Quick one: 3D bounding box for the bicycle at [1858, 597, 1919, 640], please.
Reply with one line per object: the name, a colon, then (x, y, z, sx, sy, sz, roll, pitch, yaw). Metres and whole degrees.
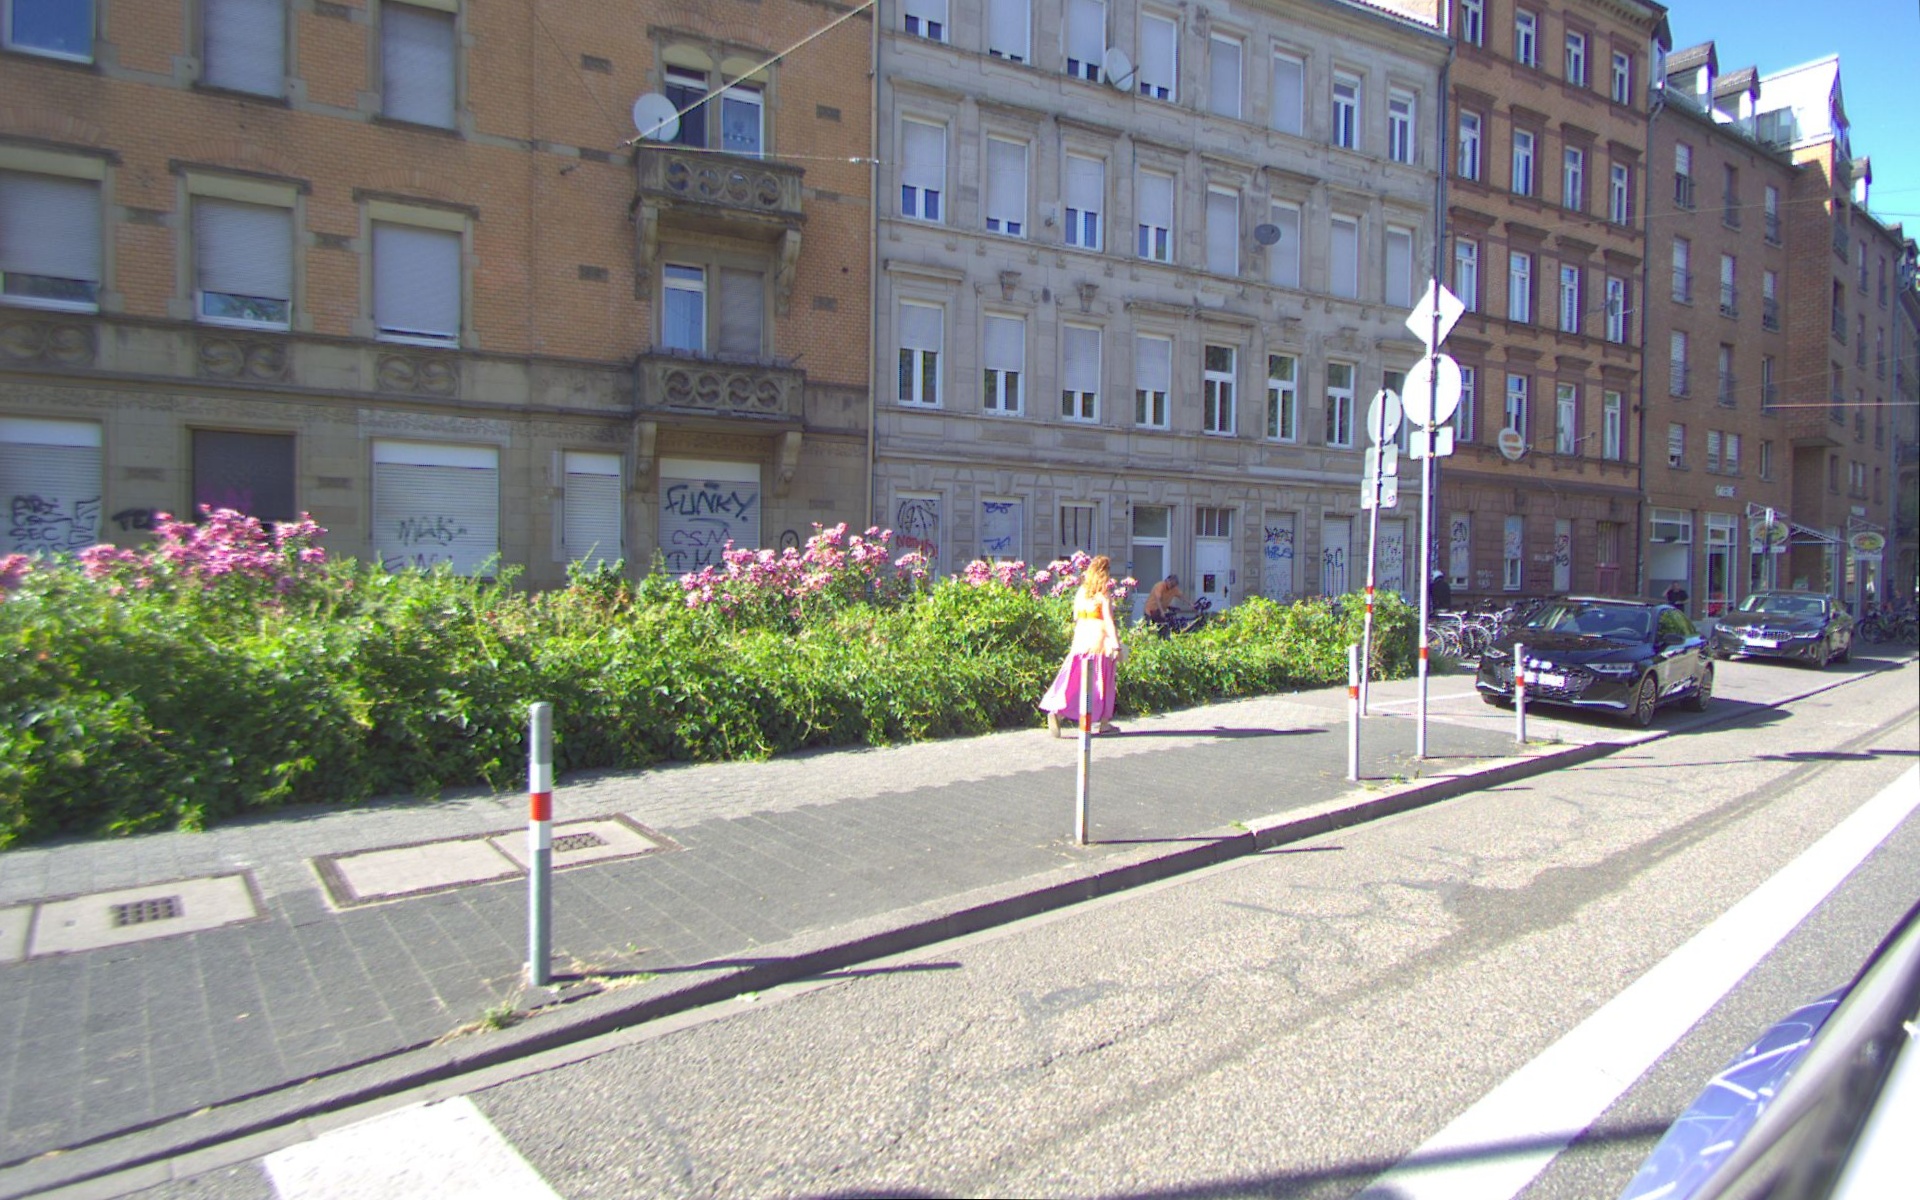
bicycle: (26.956, 0.534, 28.791, 0.828, 1.151, 1.924, 0, 2, -29)

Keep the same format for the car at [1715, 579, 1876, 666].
car: (18.025, 0.410, 21.763, 4.393, 1.543, 1.765, 0, 6, -40)

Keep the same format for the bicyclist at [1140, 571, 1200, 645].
bicyclist: (3.831, 0.129, 18.492, 0.847, 1.302, 0.693, 0, 1, -41)

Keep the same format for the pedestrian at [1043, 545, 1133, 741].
pedestrian: (1.174, 0.364, 9.235, 0.548, 1.697, 0.679, 1, 1, 36)

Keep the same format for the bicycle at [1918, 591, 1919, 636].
bicycle: (34.538, 0.437, 34.151, 8.615, 1.455, 1.806, 0, 1, -37)

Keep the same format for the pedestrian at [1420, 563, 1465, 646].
pedestrian: (11.189, 0.087, 23.468, 0.817, 1.885, 0.695, 1, 1, 36)

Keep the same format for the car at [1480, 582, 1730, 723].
car: (8.261, 0.542, 12.834, 3.931, 1.502, 1.681, 0, 1, -42)

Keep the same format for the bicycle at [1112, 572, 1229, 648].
bicycle: (3.868, 0.150, 18.473, 2.198, 1.302, 0.956, 0, 1, -41)

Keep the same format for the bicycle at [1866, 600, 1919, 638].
bicycle: (28.134, 0.559, 29.959, 0.642, 1.072, 1.805, 0, 2, -31)

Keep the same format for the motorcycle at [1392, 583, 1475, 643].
motorcycle: (11.028, 0.282, 23.591, 1.622, 1.332, 0.708, 1, 1, 37)

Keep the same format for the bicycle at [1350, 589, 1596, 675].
bicycle: (10.411, 0.520, 20.208, 6.707, 1.434, 1.968, 0, 1, -41)

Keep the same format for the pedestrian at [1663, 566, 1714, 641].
pedestrian: (20.286, 0.082, 28.183, 1.345, 2.039, 0.844, 0, 1, -41)
